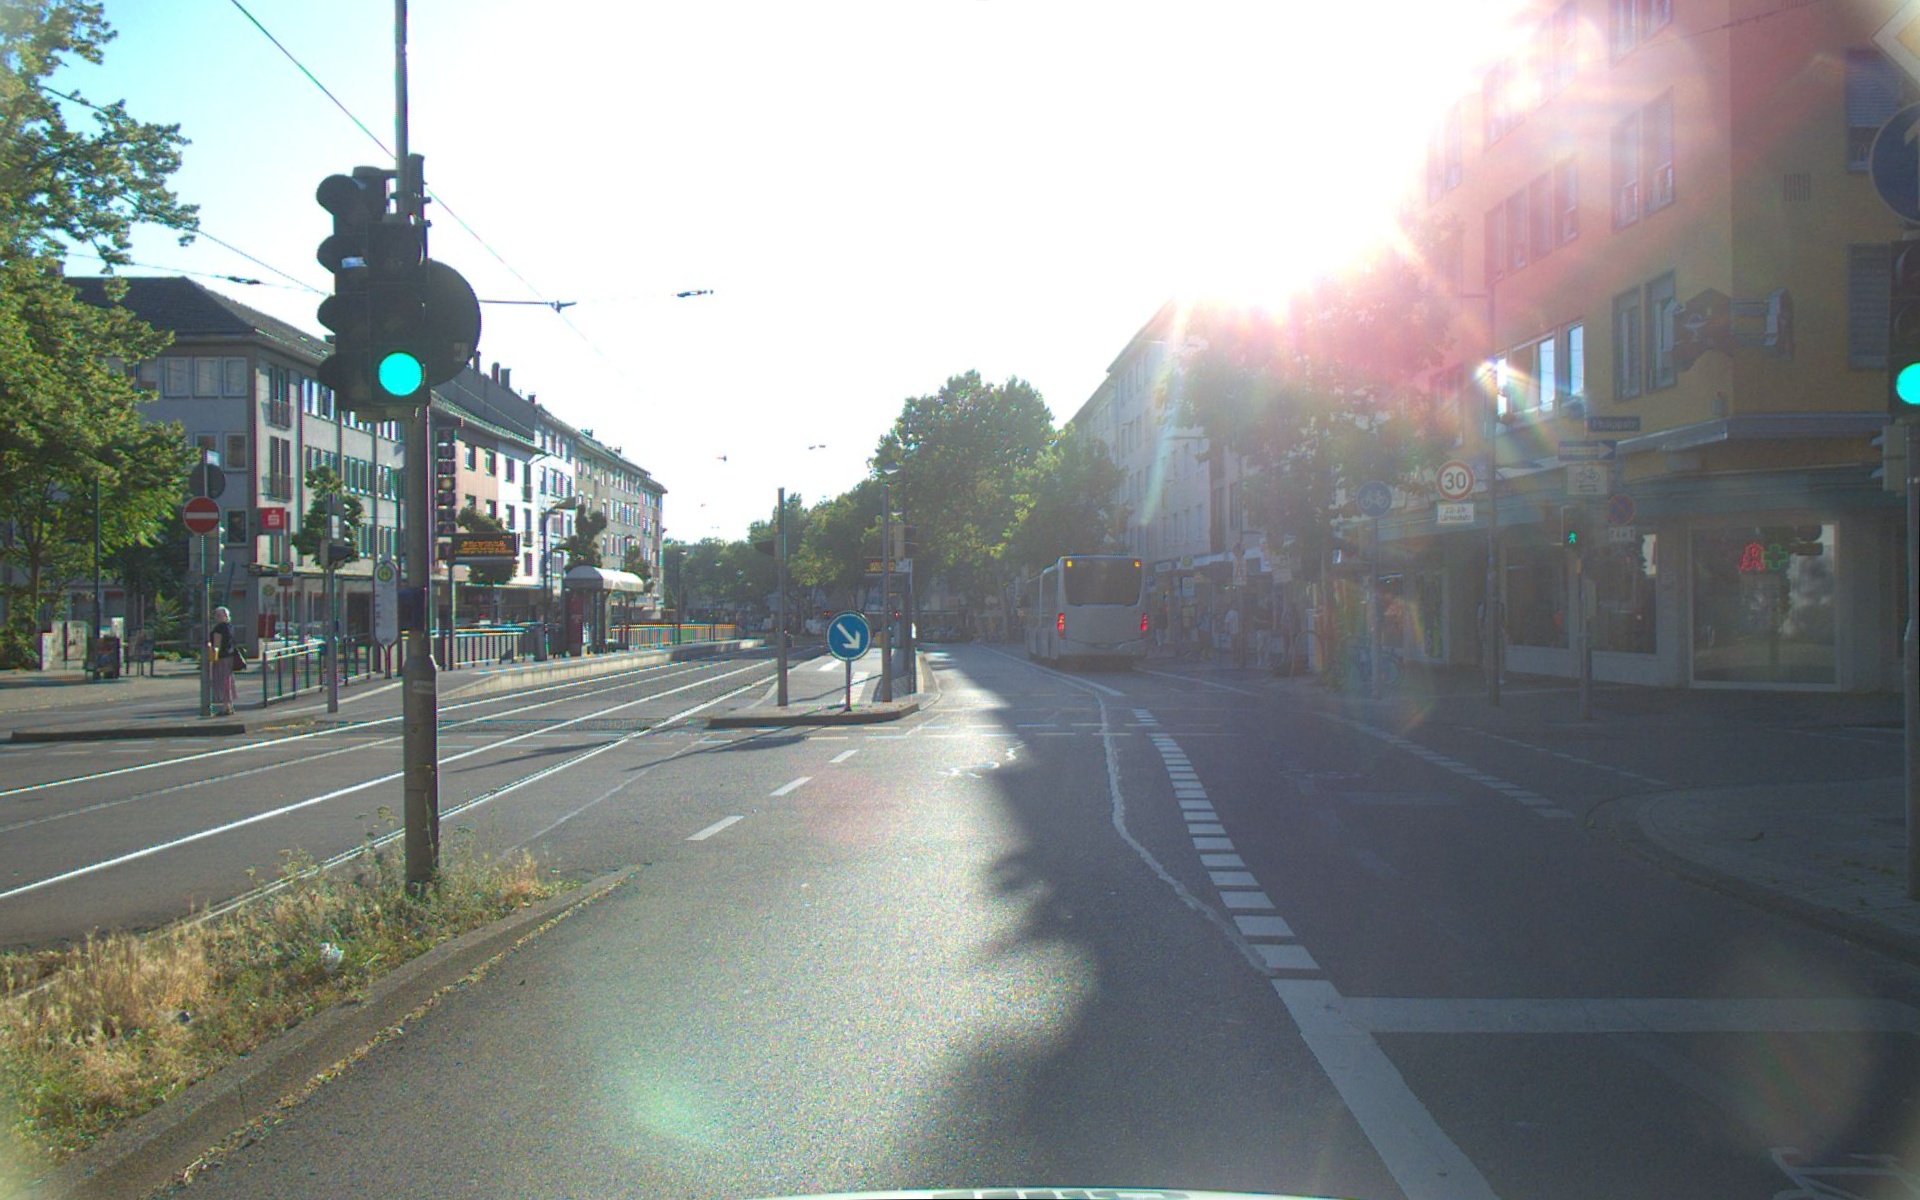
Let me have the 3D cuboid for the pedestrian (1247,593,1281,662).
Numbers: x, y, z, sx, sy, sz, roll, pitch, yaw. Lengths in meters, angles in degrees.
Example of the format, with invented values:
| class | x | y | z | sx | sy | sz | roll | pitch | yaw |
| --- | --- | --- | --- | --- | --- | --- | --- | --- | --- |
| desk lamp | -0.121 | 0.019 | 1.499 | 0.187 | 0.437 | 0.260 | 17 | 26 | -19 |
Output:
| class | x | y | z | sx | sy | sz | roll | pitch | yaw |
| --- | --- | --- | --- | --- | --- | --- | --- | --- | --- |
| pedestrian | 8.189 | 0.739 | 44.597 | 0.709 | 1.838 | 0.766 | -1 | -1 | -2 |

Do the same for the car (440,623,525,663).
| class | x | y | z | sx | sy | sz | roll | pitch | yaw |
| --- | --- | --- | --- | --- | --- | --- | --- | --- | --- |
| car | -21.961 | 1.951 | 76.153 | 1.734 | 1.709 | 3.500 | -1 | 0 | 34 |

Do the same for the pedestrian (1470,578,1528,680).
| class | x | y | z | sx | sy | sz | roll | pitch | yaw |
| --- | --- | --- | --- | --- | --- | --- | --- | --- | --- |
| pedestrian | 9.771 | 0.520 | 30.022 | 0.728 | 1.811 | 0.894 | 0 | -1 | -2 |

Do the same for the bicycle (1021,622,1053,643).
| class | x | y | z | sx | sy | sz | roll | pitch | yaw |
| --- | --- | --- | --- | --- | --- | --- | --- | --- | --- |
| bicycle | 4.673 | 1.961 | 100.241 | 1.848 | 1.096 | 0.754 | -5 | -1 | 1 |

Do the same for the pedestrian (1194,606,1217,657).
| class | x | y | z | sx | sy | sz | roll | pitch | yaw |
| --- | --- | --- | --- | --- | --- | --- | --- | --- | --- |
| pedestrian | 7.713 | 0.985 | 52.039 | 0.598 | 1.606 | 0.851 | -1 | 0 | 1 |

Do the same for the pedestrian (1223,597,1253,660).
| class | x | y | z | sx | sy | sz | roll | pitch | yaw |
| --- | --- | --- | --- | --- | --- | --- | --- | --- | --- |
| pedestrian | 8.106 | 0.832 | 48.283 | 0.709 | 1.810 | 0.766 | -1 | -1 | -2 |

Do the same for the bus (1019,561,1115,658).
| class | x | y | z | sx | sy | sz | roll | pitch | yaw |
| --- | --- | --- | --- | --- | --- | --- | --- | --- | --- |
| bus | 3.651 | 0.350 | 58.599 | 2.642 | 3.173 | 9.067 | 0 | -1 | -1 |

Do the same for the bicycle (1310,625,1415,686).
| class | x | y | z | sx | sy | sz | roll | pitch | yaw |
| --- | --- | --- | --- | --- | --- | --- | --- | --- | --- |
| bicycle | 7.425 | 1.015 | 30.557 | 1.763 | 1.026 | 0.540 | -3 | -1 | -5 |

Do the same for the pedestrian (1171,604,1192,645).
| class | x | y | z | sx | sy | sz | roll | pitch | yaw |
| --- | --- | --- | --- | --- | --- | --- | --- | --- | --- |
| pedestrian | 8.955 | 0.991 | 66.807 | 0.709 | 1.661 | 0.766 | -1 | 0 | -2 |

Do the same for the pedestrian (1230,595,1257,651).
| class | x | y | z | sx | sy | sz | roll | pitch | yaw |
| --- | --- | --- | --- | --- | --- | --- | --- | --- | --- |
| pedestrian | 9.608 | 0.774 | 56.052 | 0.709 | 1.872 | 0.766 | -1 | -1 | -2 |

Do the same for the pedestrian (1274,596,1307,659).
| class | x | y | z | sx | sy | sz | roll | pitch | yaw |
| --- | --- | --- | --- | --- | --- | --- | --- | --- | --- |
| pedestrian | 9.342 | 0.772 | 46.763 | 0.709 | 1.754 | 0.766 | -1 | -1 | -2 |

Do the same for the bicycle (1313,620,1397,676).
| class | x | y | z | sx | sy | sz | roll | pitch | yaw |
| --- | --- | --- | --- | --- | --- | --- | --- | --- | --- |
| bicycle | 7.445 | 0.899 | 31.191 | 1.453 | 1.026 | 0.454 | -1 | 0 | -5 |

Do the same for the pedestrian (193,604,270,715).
| class | x | y | z | sx | sy | sz | roll | pitch | yaw |
| --- | --- | --- | --- | --- | --- | --- | --- | --- | --- |
| pedestrian | -12.098 | 0.977 | 27.493 | 0.900 | 1.791 | 0.832 | -1 | -1 | 0 |

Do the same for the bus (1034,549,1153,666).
| class | x | y | z | sx | sy | sz | roll | pitch | yaw |
| --- | --- | --- | --- | --- | --- | --- | --- | --- | --- |
| bus | 3.817 | 0.251 | 49.418 | 2.642 | 3.173 | 9.378 | 0 | -1 | -1 |
